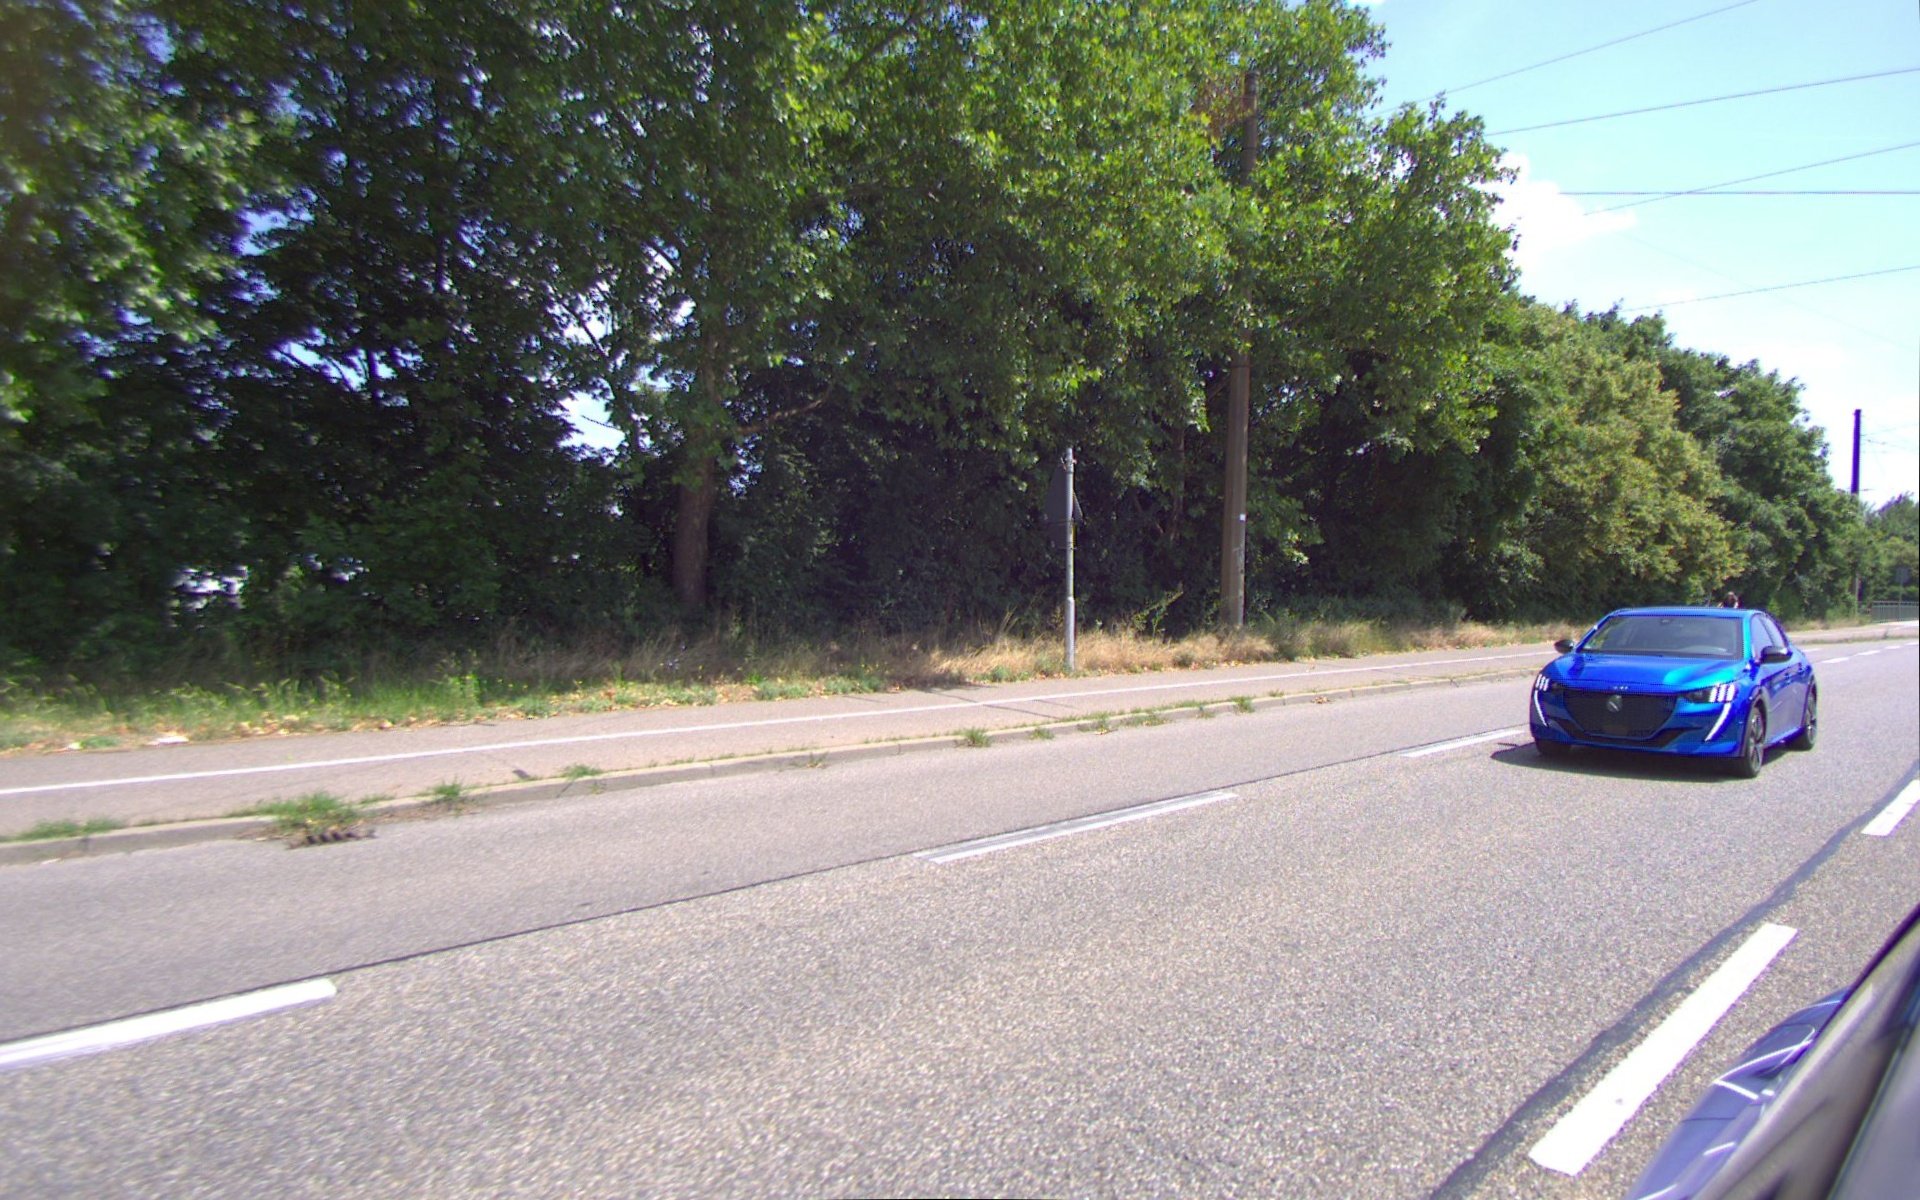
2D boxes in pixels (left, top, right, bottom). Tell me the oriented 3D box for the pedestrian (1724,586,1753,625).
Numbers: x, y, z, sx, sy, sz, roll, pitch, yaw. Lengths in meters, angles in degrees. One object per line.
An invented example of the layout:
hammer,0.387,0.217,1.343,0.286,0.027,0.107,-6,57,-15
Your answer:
pedestrian,28.484,0.200,37.034,1.032,1.391,0.629,0,2,-41

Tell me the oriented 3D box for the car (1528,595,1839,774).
car,7.168,0.665,9.901,3.678,1.423,1.659,0,0,-41

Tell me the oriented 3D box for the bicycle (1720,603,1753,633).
bicycle,28.437,0.642,37.056,1.815,1.037,0.561,0,2,-41
